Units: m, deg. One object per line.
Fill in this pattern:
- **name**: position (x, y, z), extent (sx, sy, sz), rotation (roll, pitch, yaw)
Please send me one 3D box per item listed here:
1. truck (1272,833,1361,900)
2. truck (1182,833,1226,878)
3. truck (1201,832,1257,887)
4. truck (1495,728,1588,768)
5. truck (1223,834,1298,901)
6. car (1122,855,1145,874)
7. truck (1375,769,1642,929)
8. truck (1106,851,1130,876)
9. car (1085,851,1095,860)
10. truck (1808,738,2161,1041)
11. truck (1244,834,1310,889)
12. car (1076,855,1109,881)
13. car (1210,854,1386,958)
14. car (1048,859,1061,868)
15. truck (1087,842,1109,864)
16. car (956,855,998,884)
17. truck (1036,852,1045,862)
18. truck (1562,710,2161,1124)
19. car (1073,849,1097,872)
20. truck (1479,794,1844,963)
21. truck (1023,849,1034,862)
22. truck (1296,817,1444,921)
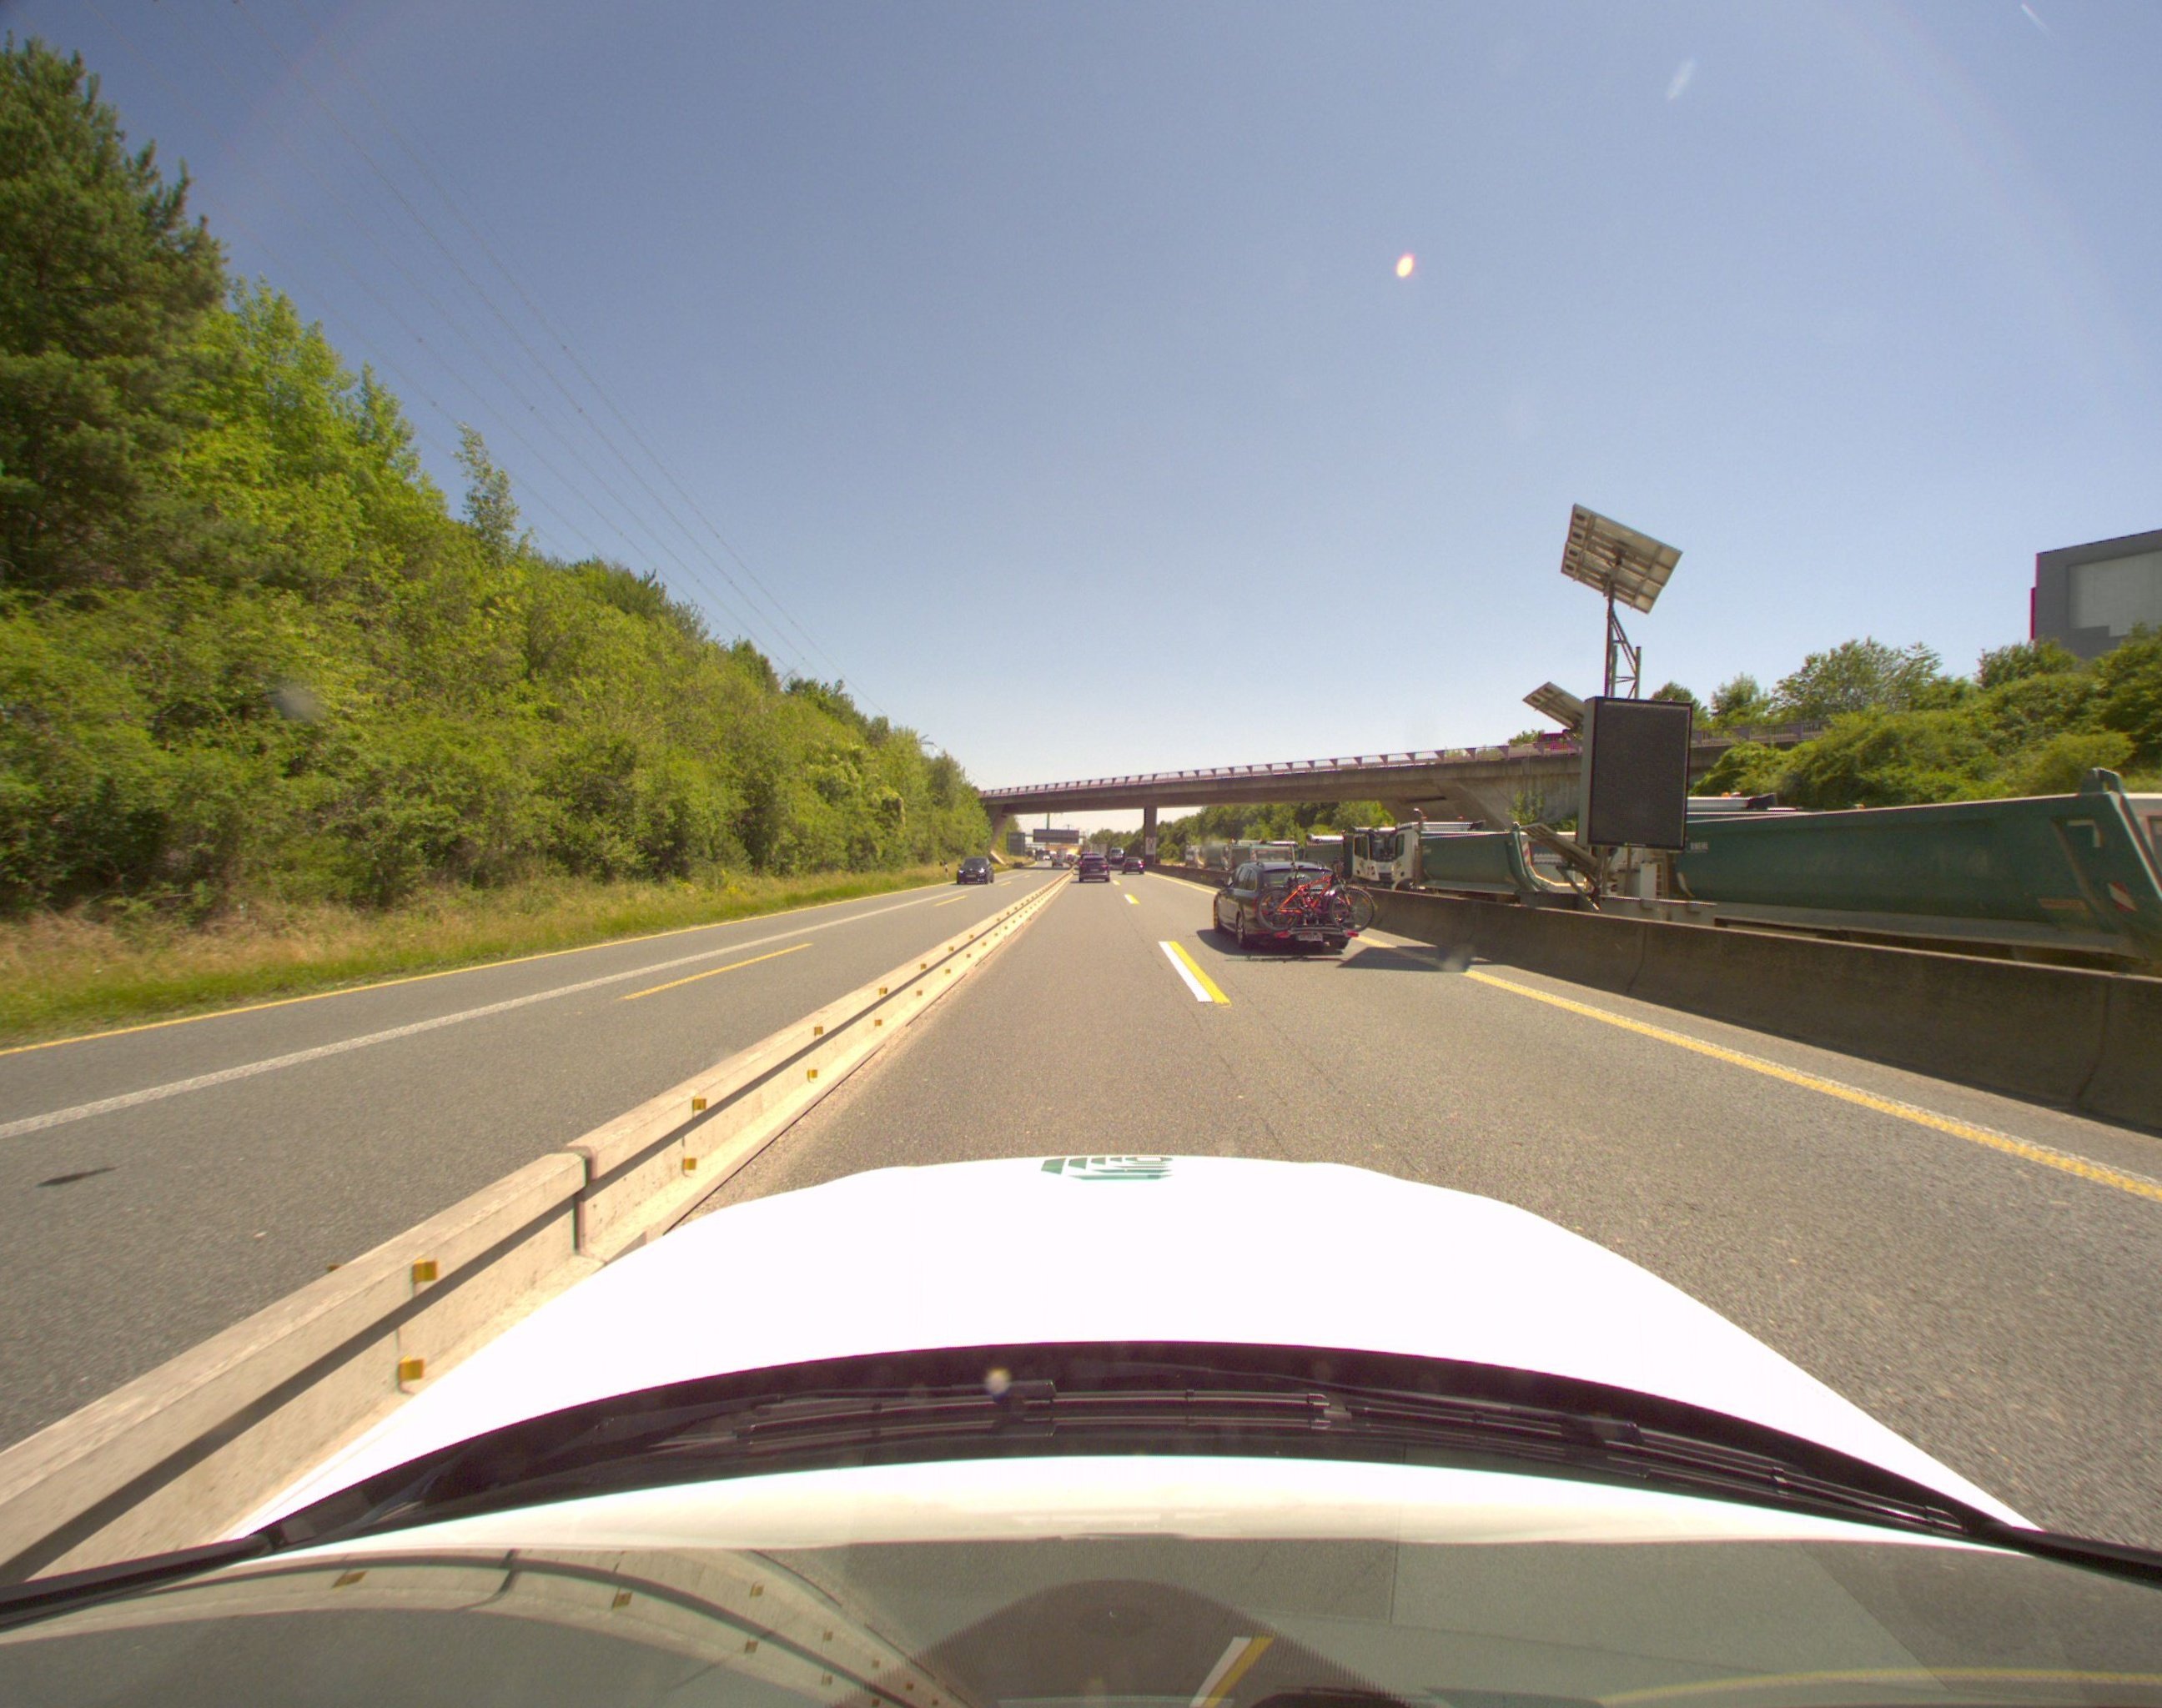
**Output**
- **truck**: position (13.647, 0.675, 48.077), extent (2.678, 3.557, 9.325), rotation (0, 0, 0)
- **truck**: position (11.101, 0.117, 74.287), extent (2.678, 3.843, 9.325), rotation (0, 0, 1)
- **truck**: position (11.074, 0.431, 61.938), extent (2.678, 3.856, 9.325), rotation (0, 0, 1)
- **truck**: position (32.615, -7.484, 57.900), extent (1.945, 2.066, 5.456), rotation (1, -1, -35)
- **truck**: position (10.910, 0.763, 50.420), extent (2.678, 3.761, 9.325), rotation (0, 0, 1)
- **car**: position (4.458, 0.878, 69.756), extent (1.892, 1.585, 4.278), rotation (0, 0, 2)
- **truck**: position (11.236, -0.100, 22.861), extent (2.678, 3.557, 9.325), rotation (0, 0, 0)
- **truck**: position (3.995, 0.988, 89.560), extent (2.398, 2.558, 7.499), rotation (0, 0, 0)
- **car**: position (2.103, 0.312, 187.096), extent (1.896, 1.969, 4.268), rotation (0, 0, -5)
- **truck**: position (13.383, 0.397, 8.863), extent (2.677, 3.378, 9.607), rotation (0, 0, 2)
- **truck**: position (14.222, 0.534, 59.857), extent (2.678, 3.727, 9.325), rotation (0, 0, 0)
- **car**: position (0.726, 0.834, 48.730), extent (1.892, 1.505, 4.278), rotation (0, 0, 2)
- **car**: position (3.482, 0.766, 14.078), extent (1.892, 1.490, 4.949), rotation (0, -1, 2)
- **car**: position (-4.006, 1.403, 122.935), extent (1.668, 1.393, 4.071), rotation (0, -1, 1)
- **truck**: position (3.096, -0.187, 151.894), extent (3.286, 3.845, 10.096), rotation (0, 0, -4)
- **car**: position (-6.026, 0.868, 47.445), extent (1.772, 1.577, 4.071), rotation (0, 0, 2)
- **truck**: position (-12.664, 0.909, 255.354), extent (2.503, 3.186, 10.096), rotation (0, 0, -4)
- **truck**: position (10.781, 0.552, 11.527), extent (2.677, 3.557, 9.410), rotation (0, 0, 2)
- **car**: position (0.372, 0.557, 70.078), extent (1.892, 1.969, 4.278), rotation (0, 0, 2)
- **truck**: position (13.959, 0.495, 21.094), extent (2.678, 3.378, 9.601), rotation (0, 0, 0)
- **truck**: position (-12.921, 0.302, 200.250), extent (2.503, 3.186, 10.096), rotation (0, 0, -4)
- **truck**: position (11.089, 0.514, 32.476), extent (2.678, 3.557, 9.325), rotation (0, 0, 0)
